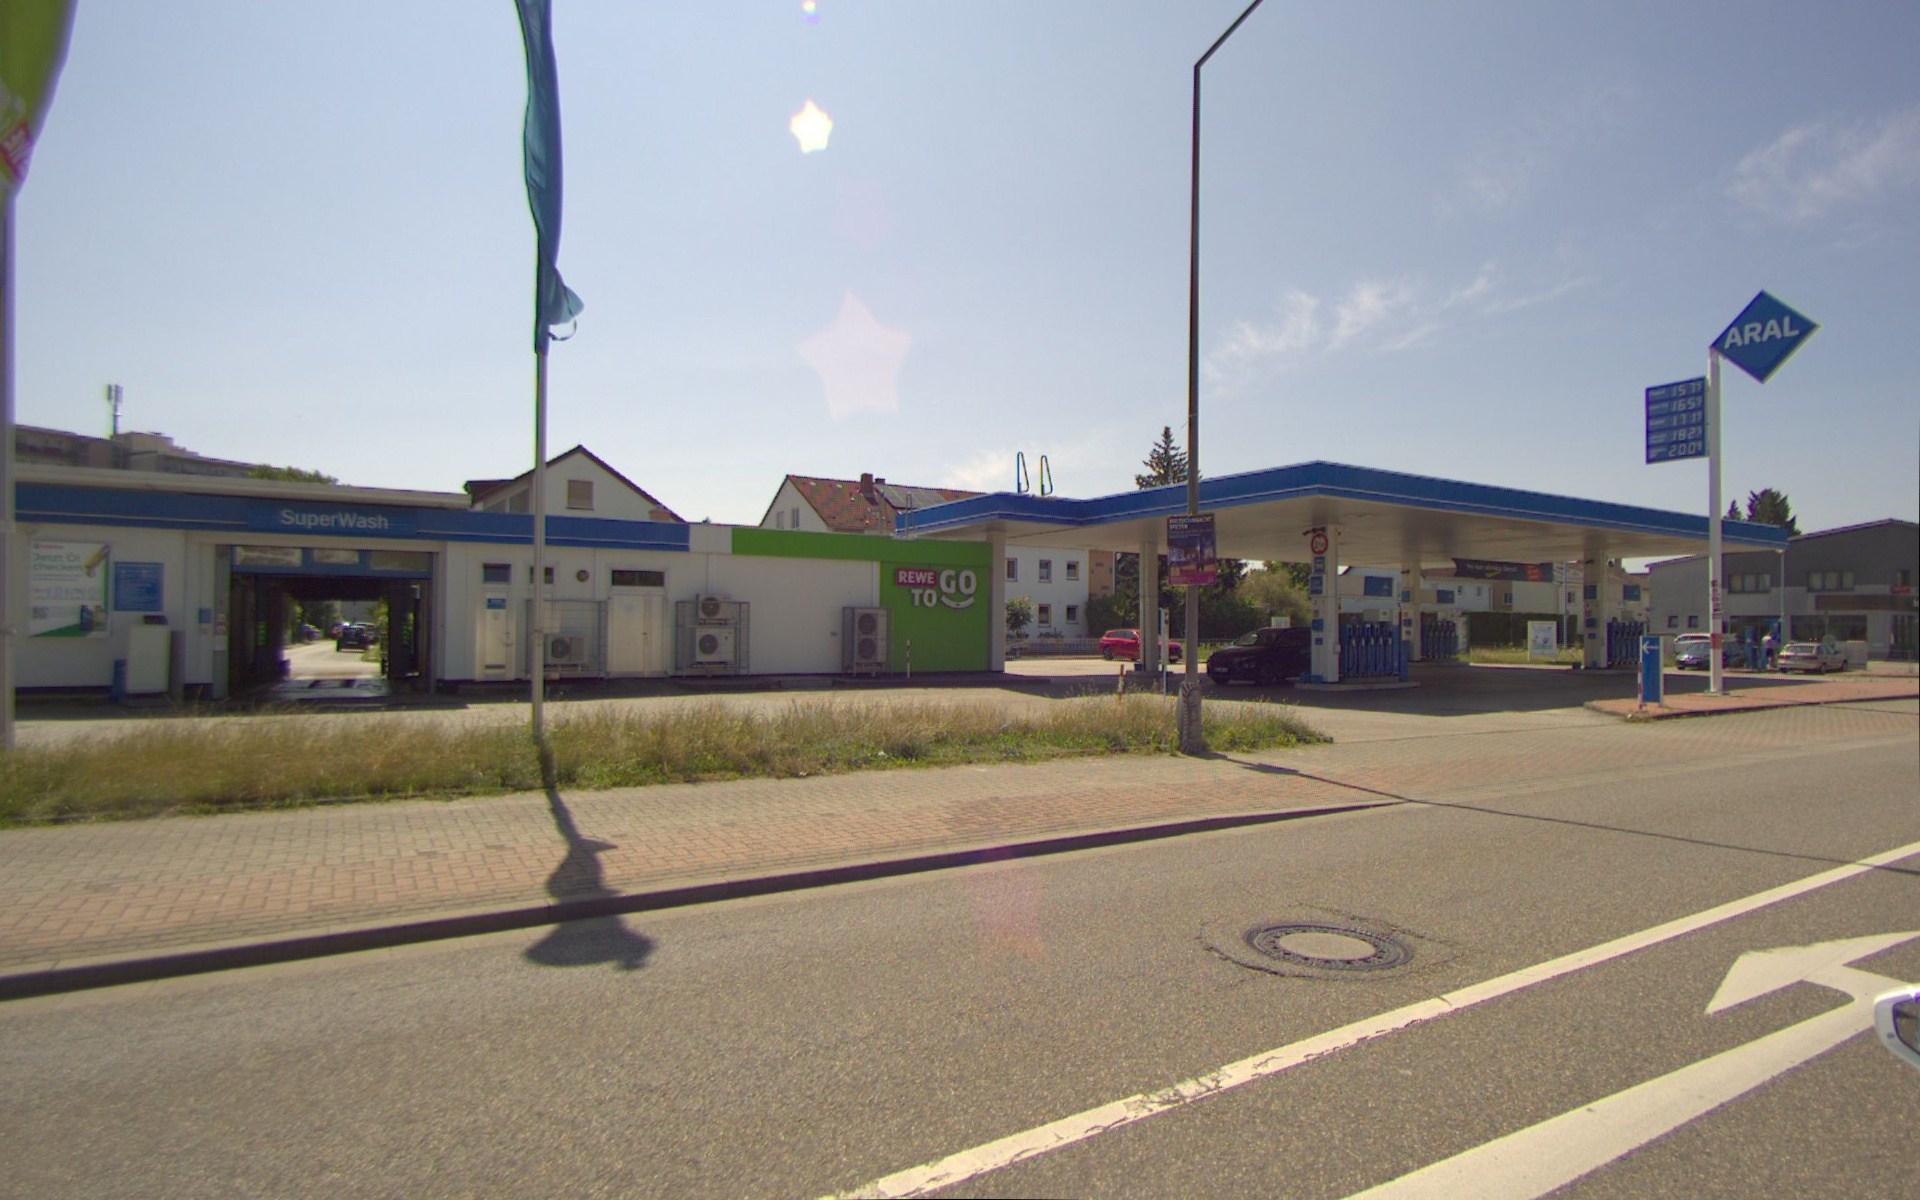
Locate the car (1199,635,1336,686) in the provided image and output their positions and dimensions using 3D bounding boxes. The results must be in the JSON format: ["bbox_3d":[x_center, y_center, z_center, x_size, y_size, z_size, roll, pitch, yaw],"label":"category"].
[{"bbox_3d":[9.074,1.755,29.572,3.954,1.400,1.662,1,-2,-31],"label":"car"}]

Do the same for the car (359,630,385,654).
[{"bbox_3d":[-50.262,3.590,85.807,1.752,1.806,4.367,3,-1,-31],"label":"car"}]

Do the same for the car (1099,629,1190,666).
[{"bbox_3d":[8.220,2.082,45.057,1.660,1.556,3.957,2,-2,-38],"label":"car"}]

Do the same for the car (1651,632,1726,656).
[{"bbox_3d":[50.160,3.014,69.220,1.538,1.528,3.964,1,-2,-33],"label":"car"}]

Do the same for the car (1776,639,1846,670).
[{"bbox_3d":[40.140,2.555,47.351,3.675,1.438,1.607,2,-3,-35],"label":"car"}]

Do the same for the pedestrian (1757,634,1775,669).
[{"bbox_3d":[39.880,2.559,49.709,0.602,1.713,0.707,0,-1,34],"label":"pedestrian"}]

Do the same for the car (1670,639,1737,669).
[{"bbox_3d":[37.567,2.711,50.745,3.675,1.438,1.607,2,-3,-35],"label":"car"}]

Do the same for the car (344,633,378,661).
[{"bbox_3d":[-36.107,2.816,60.550,1.651,1.502,4.079,3,-1,-31],"label":"car"}]
